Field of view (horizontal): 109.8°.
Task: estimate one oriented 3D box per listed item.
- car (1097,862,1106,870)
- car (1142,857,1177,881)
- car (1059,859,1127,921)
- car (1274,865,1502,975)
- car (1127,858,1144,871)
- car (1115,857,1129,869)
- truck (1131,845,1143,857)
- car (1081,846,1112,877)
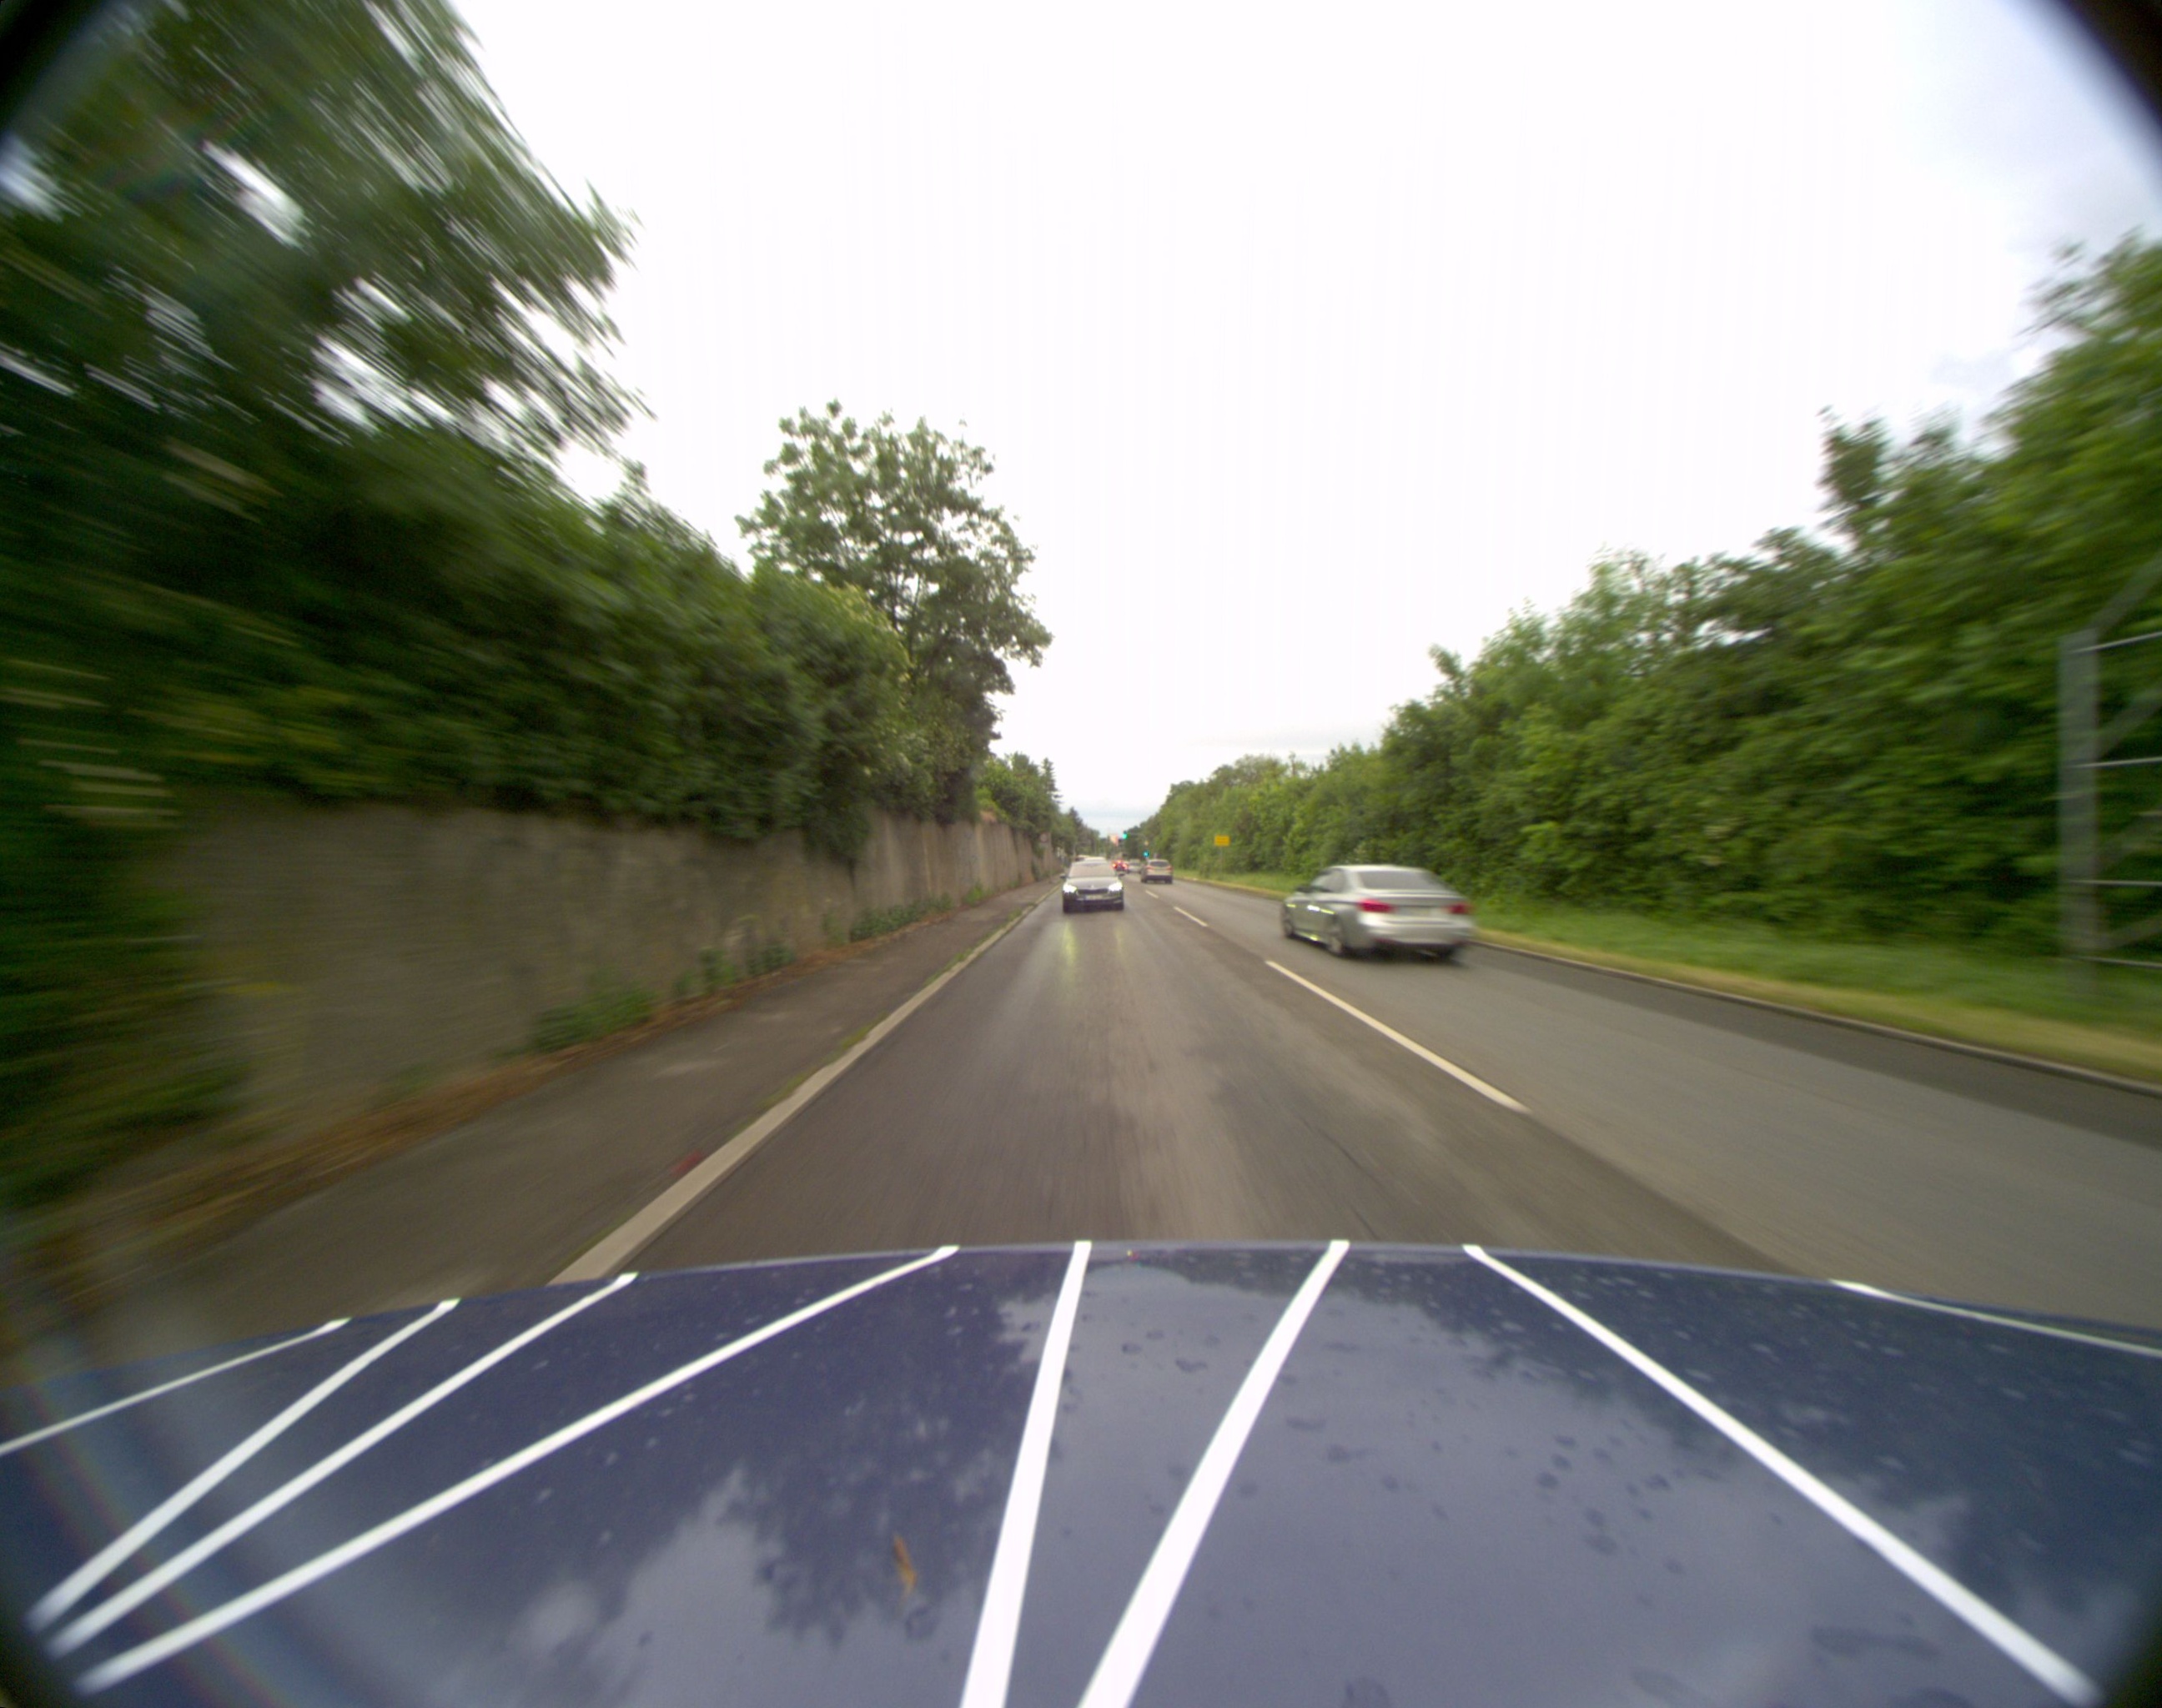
[{"bbox_3d":[4.871,2.737,179.929,1.998,1.812,4.488,1,0,5],"label":"car"},{"bbox_3d":[4.896,0.917,47.650,1.830,1.411,4.320,0,0,1],"label":"car"},{"bbox_3d":[0.333,0.944,21.721,1.675,1.477,4.215,-3,0,1],"label":"car"},{"bbox_3d":[4.649,0.909,12.317,1.896,1.347,4.381,-1,0,0],"label":"car"},{"bbox_3d":[6.445,1.204,90.268,1.806,1.423,4.179,1,0,1],"label":"car"},{"bbox_3d":[5.836,1.285,109.823,1.737,1.584,4.281,1,0,-1],"label":"car"},{"bbox_3d":[12.471,-0.585,168.518,2.479,2.494,5.639,1,0,5],"label":"truck"},{"bbox_3d":[0.880,0.413,44.673,1.704,1.724,3.999,-1,1,0],"label":"car"}]
